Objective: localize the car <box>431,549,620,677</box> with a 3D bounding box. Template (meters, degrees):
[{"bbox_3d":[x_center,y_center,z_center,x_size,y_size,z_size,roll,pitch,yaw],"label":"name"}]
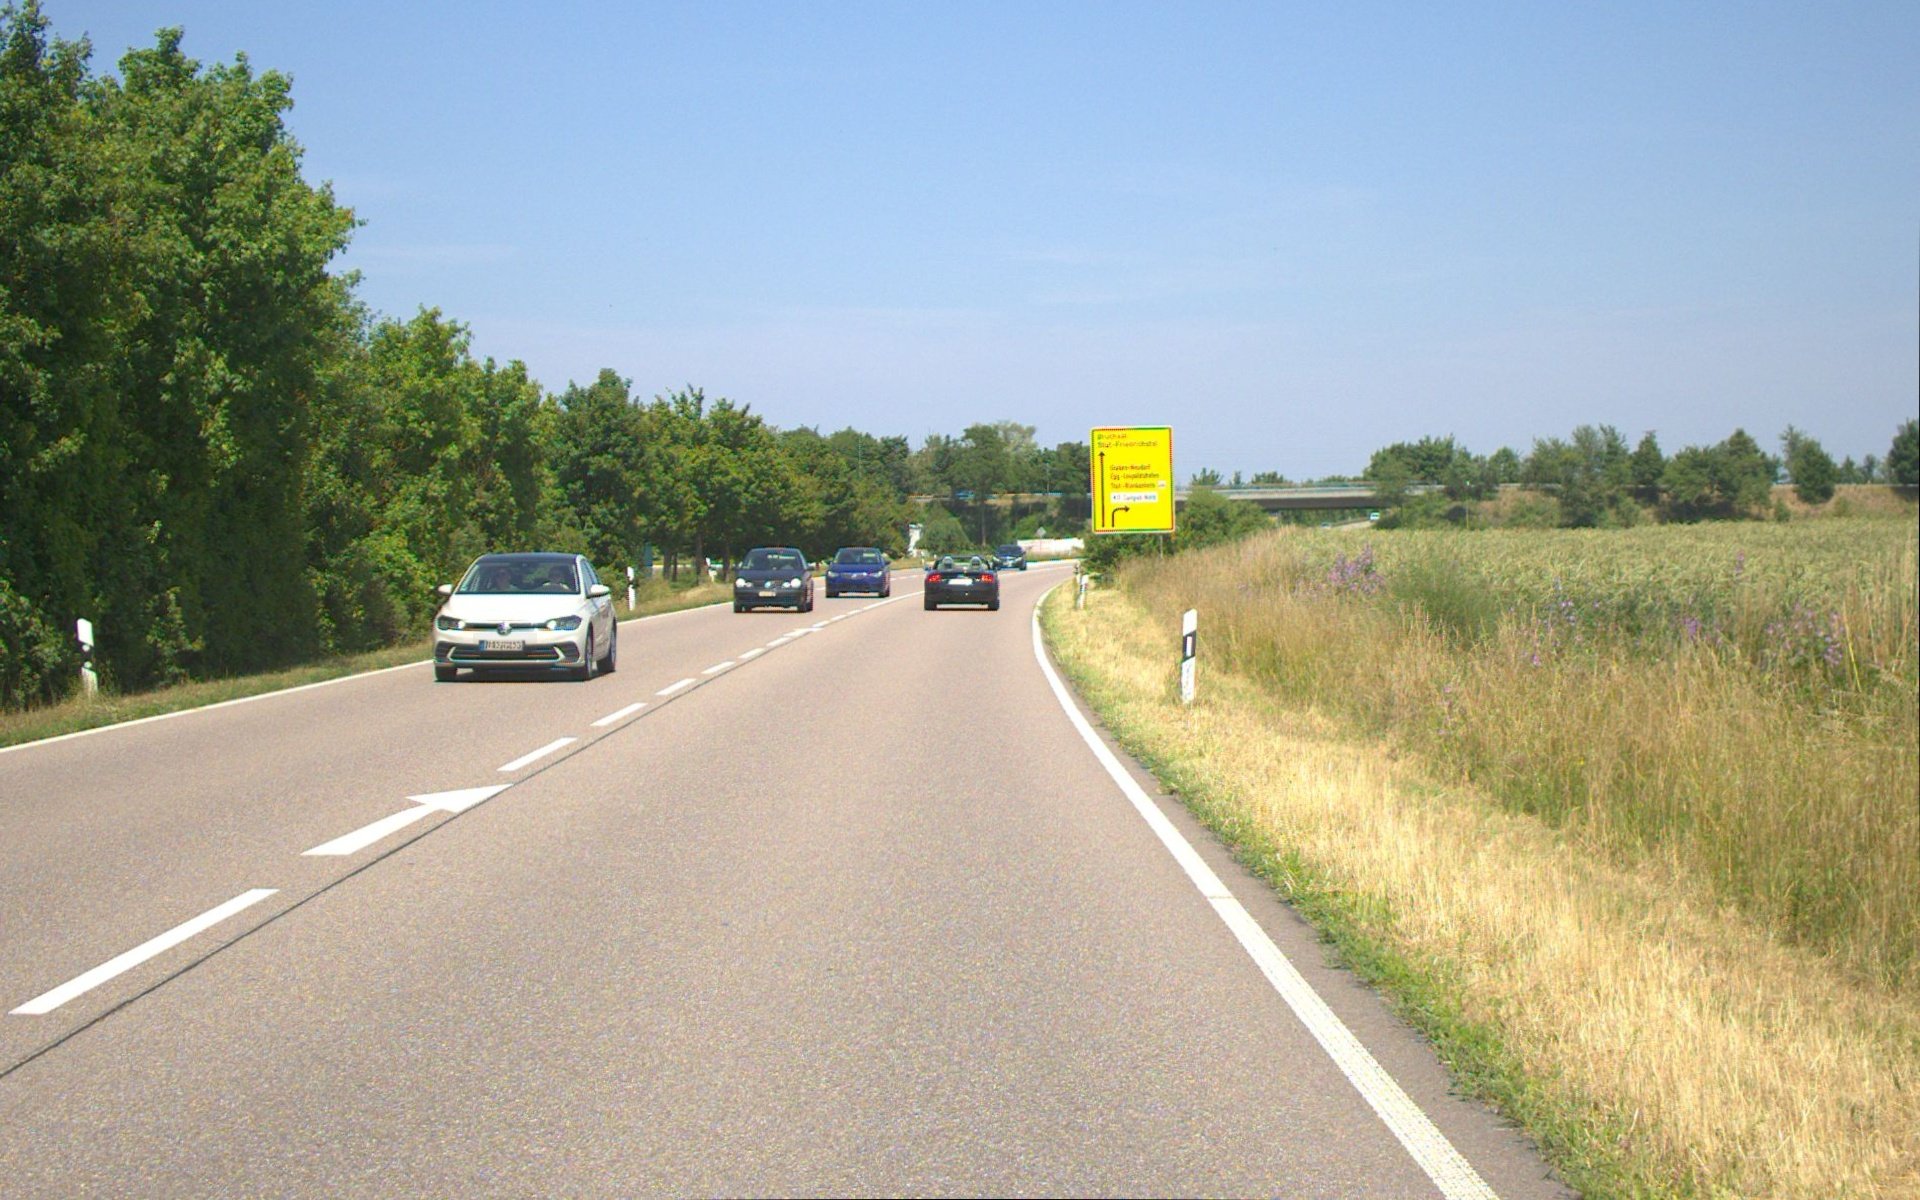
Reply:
[{"bbox_3d":[-4.936,0.118,39.505,1.707,1.377,3.819,0,1,0],"label":"car"}]

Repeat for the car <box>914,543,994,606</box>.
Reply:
[{"bbox_3d":[-0.128,-0.615,81.992,1.814,1.436,4.000,1,1,1],"label":"car"}]

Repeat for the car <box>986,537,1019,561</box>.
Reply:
[{"bbox_3d":[2.500,-2.975,199.948,1.781,1.415,4.534,0,1,2],"label":"car"}]

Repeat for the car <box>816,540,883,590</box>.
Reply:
[{"bbox_3d":[-3.220,-1.046,100.616,1.653,1.402,4.000,1,1,2],"label":"car"}]

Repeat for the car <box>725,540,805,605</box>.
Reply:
[{"bbox_3d":[-4.407,-0.643,78.229,1.597,1.437,4.000,0,1,0],"label":"car"}]
